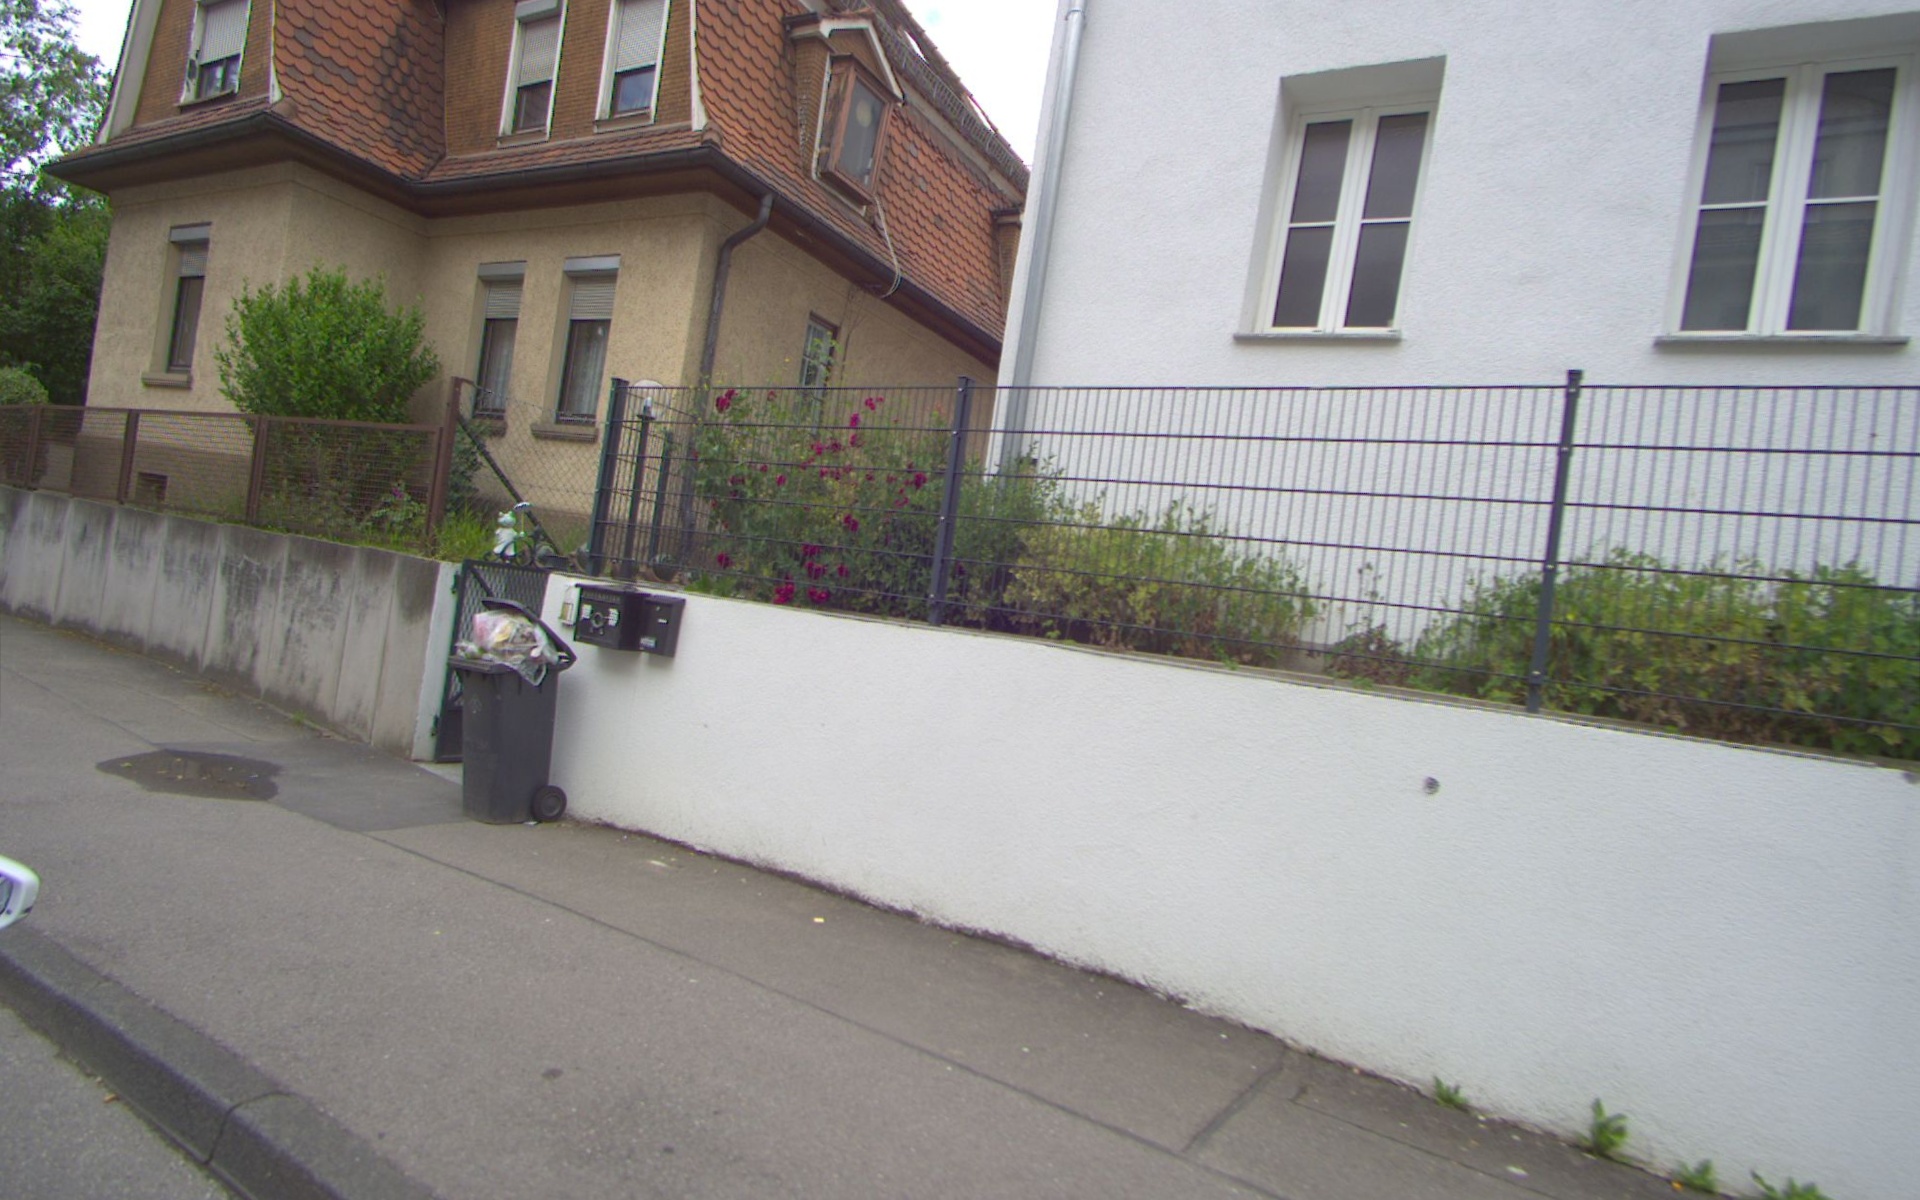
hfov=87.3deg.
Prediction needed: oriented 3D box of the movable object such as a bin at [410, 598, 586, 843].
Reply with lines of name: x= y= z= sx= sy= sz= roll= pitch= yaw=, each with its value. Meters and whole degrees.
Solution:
movable object such as a bin: x=-2.527 y=0.628 z=5.508 sx=0.623 sy=1.194 sz=0.528 roll=8 pitch=3 yaw=29
